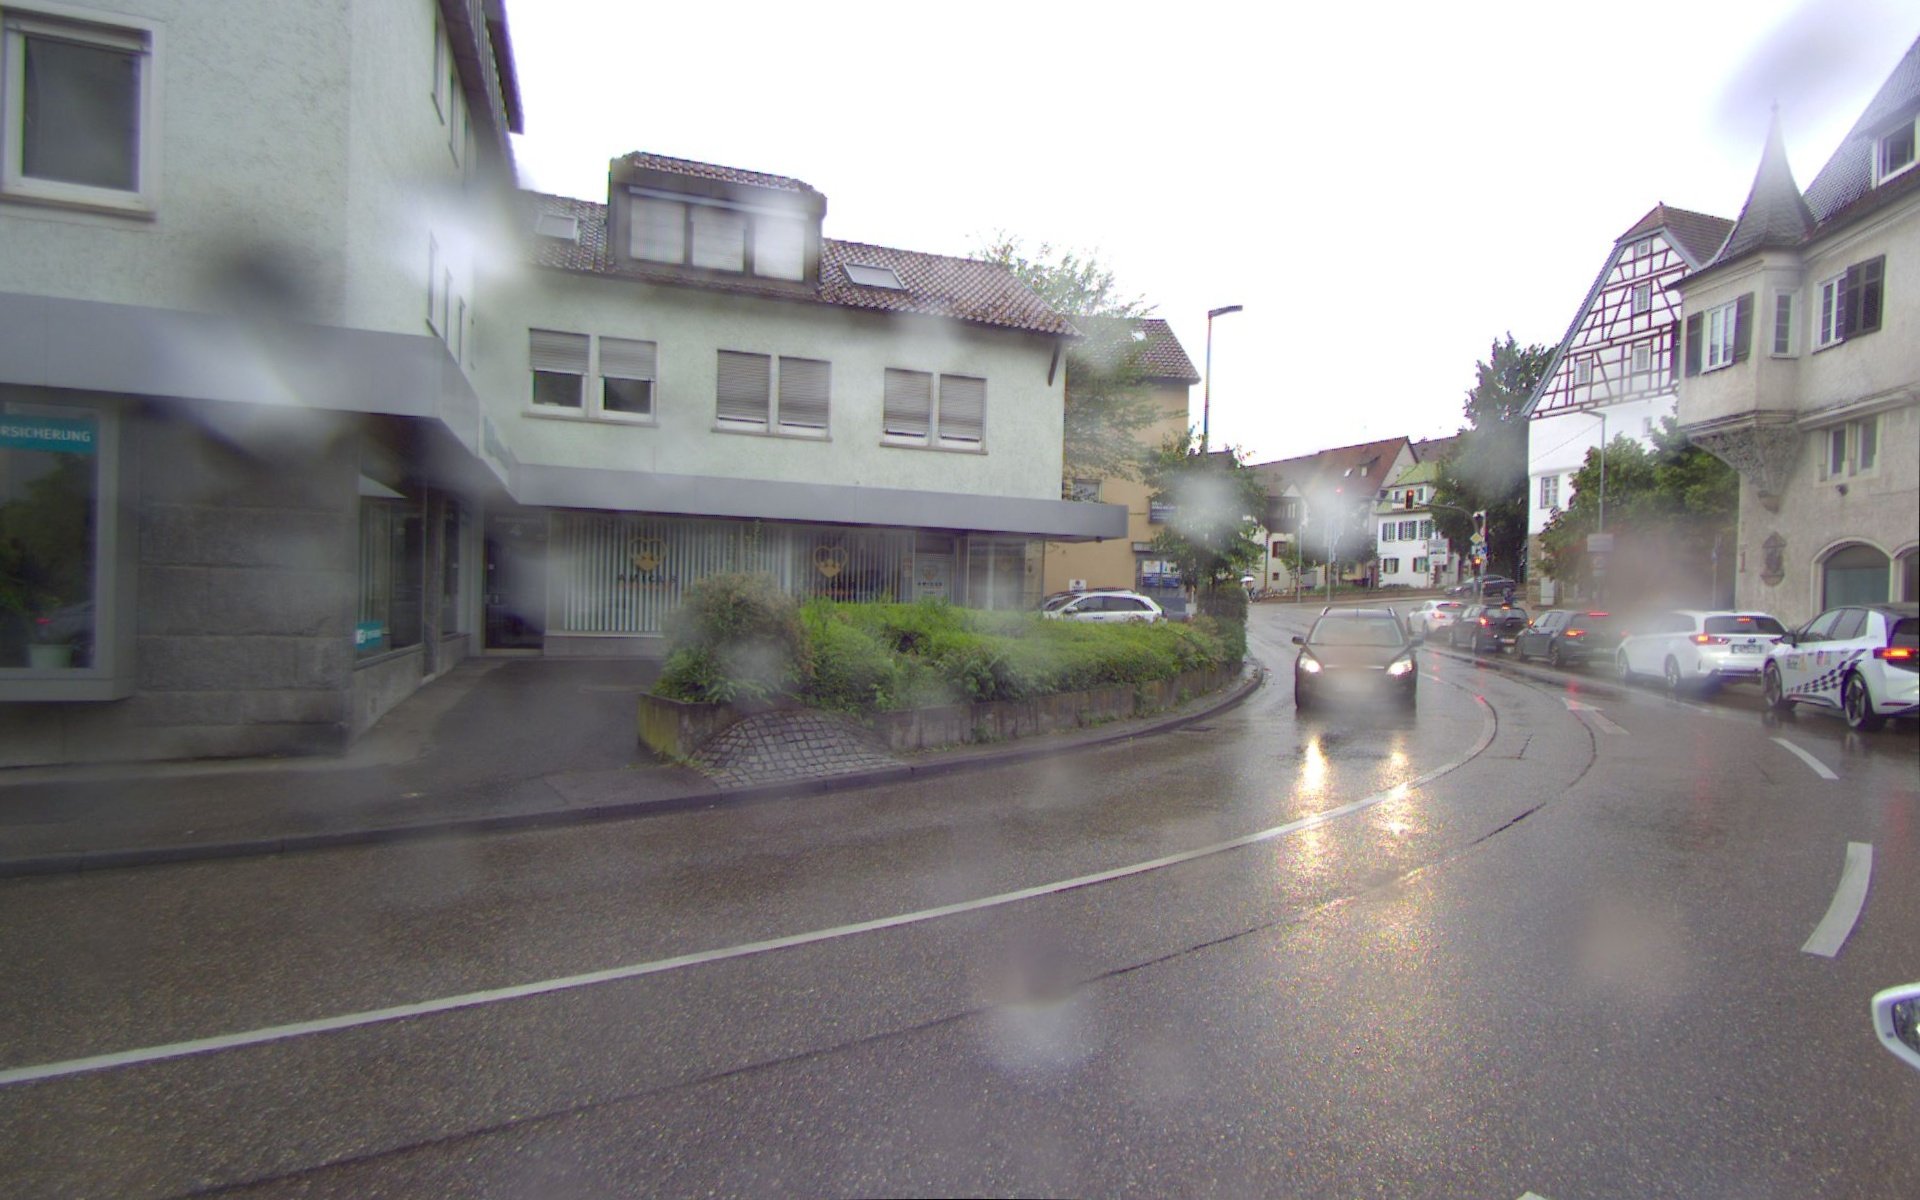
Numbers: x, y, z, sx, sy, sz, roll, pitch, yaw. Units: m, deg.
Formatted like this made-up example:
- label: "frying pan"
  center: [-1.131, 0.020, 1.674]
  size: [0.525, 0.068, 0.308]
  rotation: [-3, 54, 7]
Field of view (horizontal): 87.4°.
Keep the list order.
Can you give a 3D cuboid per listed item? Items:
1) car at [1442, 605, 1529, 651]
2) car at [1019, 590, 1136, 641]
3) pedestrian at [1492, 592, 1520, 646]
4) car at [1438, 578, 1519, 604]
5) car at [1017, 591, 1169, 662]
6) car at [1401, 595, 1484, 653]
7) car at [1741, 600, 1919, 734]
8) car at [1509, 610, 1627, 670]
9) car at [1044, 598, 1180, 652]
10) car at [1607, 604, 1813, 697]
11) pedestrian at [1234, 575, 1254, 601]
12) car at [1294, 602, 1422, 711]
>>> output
- label: "car"
  center: [16.951, 0.874, 32.544]
  size: [1.634, 1.330, 3.625]
  rotation: [0, 1, 13]
- label: "car"
  center: [3.804, 0.500, 32.699]
  size: [3.472, 1.597, 1.710]
  rotation: [0, 1, -8]
- label: "pedestrian"
  center: [24.185, 0.842, 44.537]
  size: [0.851, 2.357, 1.231]
  rotation: [1, 0, 18]
- label: "car"
  center: [33.519, -0.611, 64.979]
  size: [4.446, 1.409, 1.648]
  rotation: [1, 7, -8]
- label: "car"
  center: [3.289, 0.634, 25.197]
  size: [3.472, 1.708, 1.710]
  rotation: [0, 1, -8]
- label: "car"
  center: [18.627, 0.882, 38.972]
  size: [1.939, 2.118, 3.963]
  rotation: [0, 1, 11]
- label: "car"
  center: [12.171, 0.792, 13.334]
  size: [1.760, 1.537, 4.239]
  rotation: [-1, -1, 22]
- label: "car"
  center: [15.620, 0.981, 25.990]
  size: [1.493, 1.380, 3.769]
  rotation: [0, 1, 13]
- label: "car"
  center: [4.238, 0.687, 28.300]
  size: [3.472, 1.475, 1.710]
  rotation: [0, 1, -8]
- label: "car"
  center: [13.940, 0.858, 18.983]
  size: [1.755, 1.485, 4.165]
  rotation: [0, 1, 16]
- label: "pedestrian"
  center: [19.664, -0.824, 69.622]
  size: [1.128, 1.765, 1.004]
  rotation: [1, 0, 28]
- label: "car"
  center: [6.600, 0.843, 16.489]
  size: [1.704, 1.530, 4.270]
  rotation: [-1, -1, 24]
